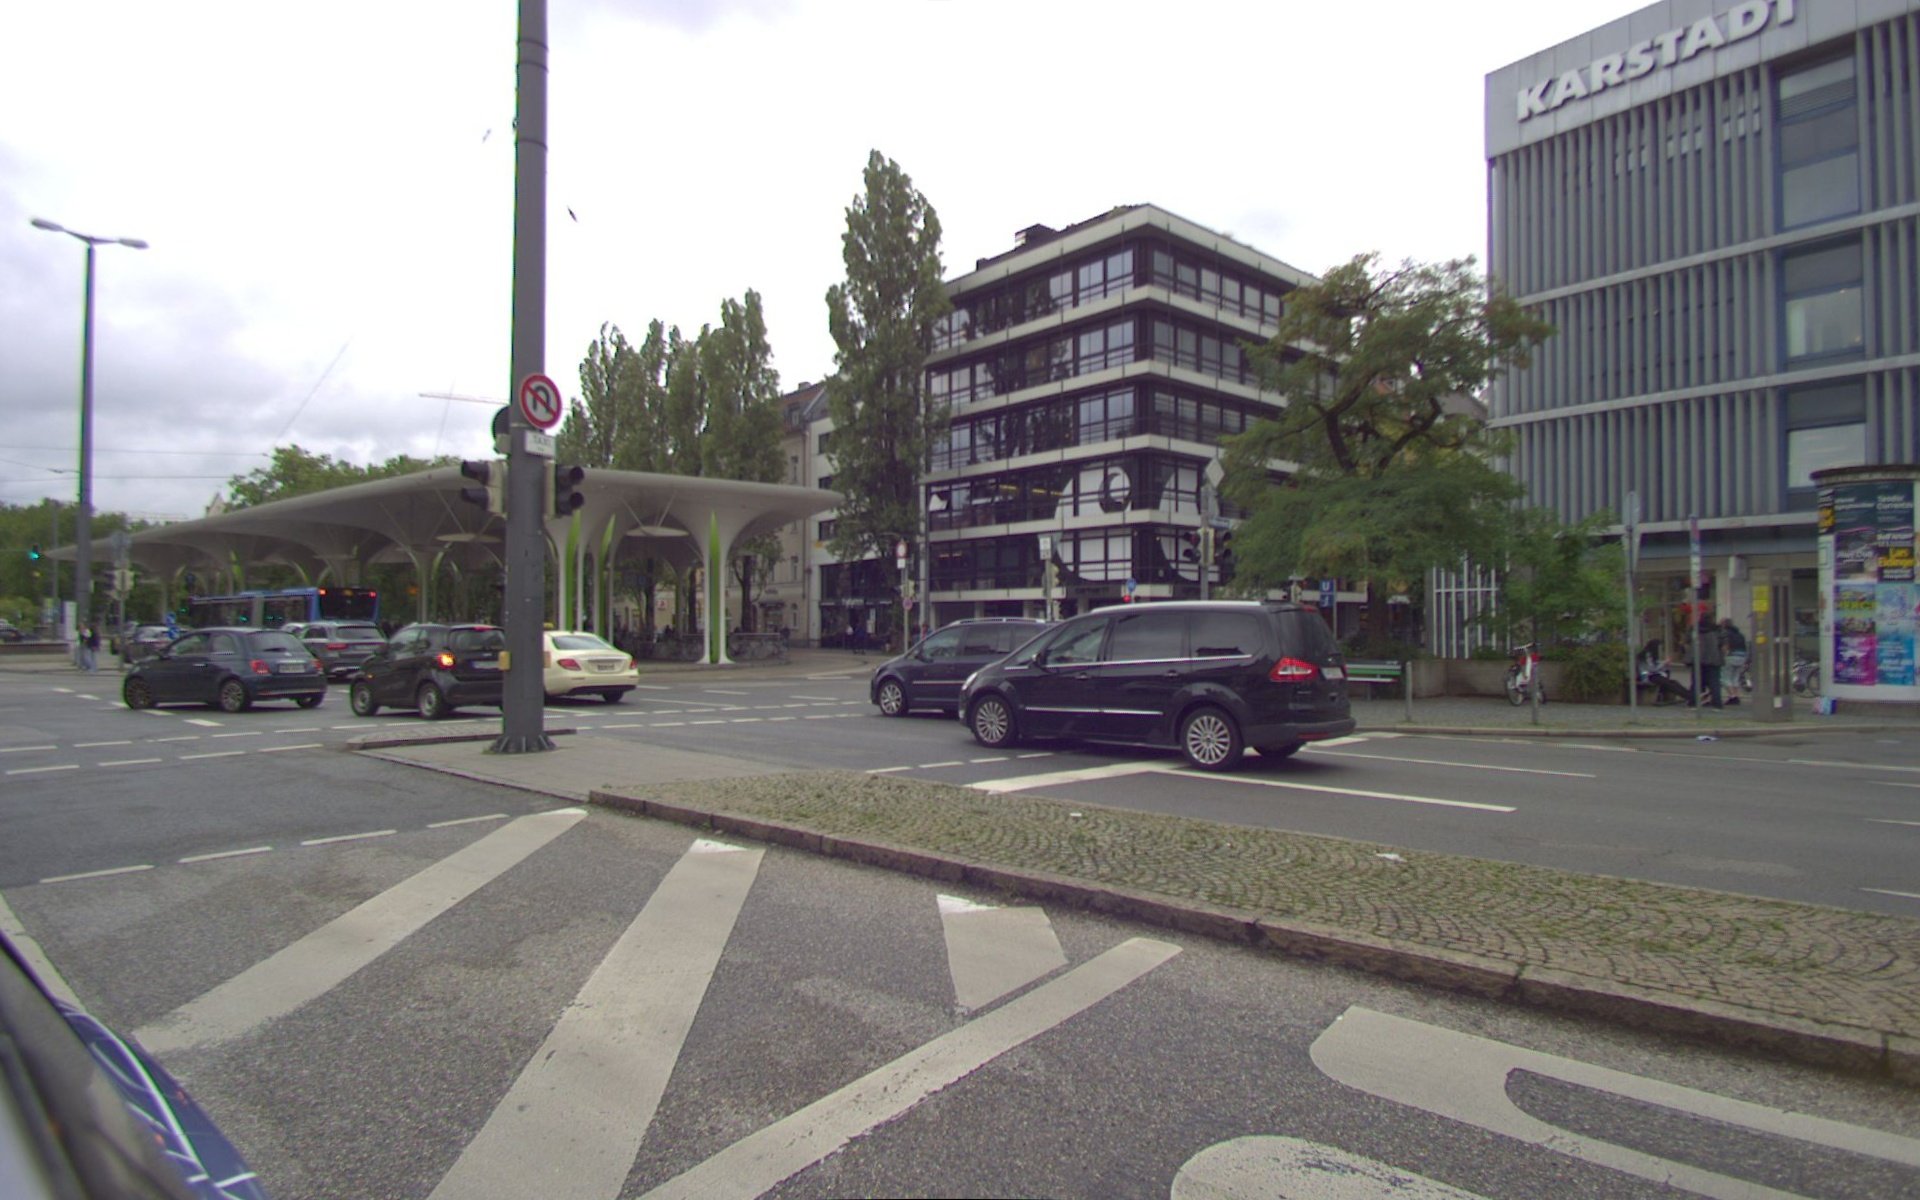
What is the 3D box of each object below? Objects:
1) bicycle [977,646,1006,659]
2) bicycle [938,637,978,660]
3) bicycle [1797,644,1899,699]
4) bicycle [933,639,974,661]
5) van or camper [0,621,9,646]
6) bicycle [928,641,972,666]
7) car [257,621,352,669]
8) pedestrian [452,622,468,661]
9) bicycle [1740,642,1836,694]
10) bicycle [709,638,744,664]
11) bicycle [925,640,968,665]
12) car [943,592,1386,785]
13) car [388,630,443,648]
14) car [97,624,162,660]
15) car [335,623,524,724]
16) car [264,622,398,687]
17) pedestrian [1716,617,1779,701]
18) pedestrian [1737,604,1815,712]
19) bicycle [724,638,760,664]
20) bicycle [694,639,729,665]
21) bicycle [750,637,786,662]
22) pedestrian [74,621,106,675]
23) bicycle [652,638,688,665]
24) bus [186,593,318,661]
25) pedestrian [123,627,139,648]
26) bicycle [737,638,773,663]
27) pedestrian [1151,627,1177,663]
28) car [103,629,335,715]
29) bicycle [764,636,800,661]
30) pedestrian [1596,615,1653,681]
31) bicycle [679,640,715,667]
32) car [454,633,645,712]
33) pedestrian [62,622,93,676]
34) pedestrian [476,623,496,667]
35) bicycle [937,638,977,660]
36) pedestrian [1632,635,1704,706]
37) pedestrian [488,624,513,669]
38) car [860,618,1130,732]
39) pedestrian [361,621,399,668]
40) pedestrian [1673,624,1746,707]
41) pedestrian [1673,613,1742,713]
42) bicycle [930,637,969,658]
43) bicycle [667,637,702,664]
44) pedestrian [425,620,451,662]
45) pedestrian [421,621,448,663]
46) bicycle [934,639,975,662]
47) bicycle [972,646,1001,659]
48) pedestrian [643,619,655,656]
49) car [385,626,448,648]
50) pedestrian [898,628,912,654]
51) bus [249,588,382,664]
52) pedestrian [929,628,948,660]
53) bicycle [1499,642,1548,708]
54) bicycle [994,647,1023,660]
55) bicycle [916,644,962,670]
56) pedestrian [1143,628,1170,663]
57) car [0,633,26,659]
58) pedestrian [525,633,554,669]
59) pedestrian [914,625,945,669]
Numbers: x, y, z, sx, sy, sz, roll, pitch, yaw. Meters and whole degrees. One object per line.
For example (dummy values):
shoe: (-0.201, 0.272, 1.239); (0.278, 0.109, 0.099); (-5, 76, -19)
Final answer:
bicycle: (1.629, 2.708, 51.920); (1.607, 0.637, 0.364); (1, -2, -35)
bicycle: (-0.072, 2.141, 44.697); (1.704, 0.946, 0.456); (1, -1, -8)
bicycle: (19.876, 1.560, 22.607); (3.621, 1.108, 0.807); (1, -2, -34)
bicycle: (-0.301, 2.152, 43.555); (1.704, 0.946, 0.456); (1, -1, -8)
van or camper: (-72.925, 2.493, 75.613); (5.433, 1.840, 1.909); (-2, -2, 38)
bicycle: (-0.411, 2.163, 41.234); (1.719, 0.946, 0.452); (0, -1, 21)
car: (-23.239, 1.575, 35.840); (3.996, 1.608, 1.681); (-2, -2, 39)
pedestrian: (-20.912, 1.736, 42.342); (0.511, 1.600, 0.482); (0, -2, -19)
bicycle: (19.457, 1.557, 23.756); (3.383, 1.108, 0.789); (1, -2, -34)
bicycle: (-10.437, 2.277, 45.170); (0.645, 1.127, 2.186); (1, -2, -40)
bicycle: (-0.572, 2.166, 41.778); (1.717, 0.946, 0.452); (0, -1, 19)
car: (2.142, 0.884, 11.468); (4.586, 1.752, 1.916); (-2, -3, 41)
car: (-48.363, 3.451, 89.888); (3.938, 1.628, 1.833); (1, -2, -42)
car: (-40.056, 2.006, 48.789); (3.997, 1.674, 1.764); (-2, -2, 41)
car: (-8.813, 1.171, 16.816); (2.825, 1.546, 1.493); (-1, -3, 30)
car: (-17.518, 1.469, 28.098); (4.727, 1.683, 1.726); (-2, -2, 39)
pedestrian: (14.969, 1.106, 19.268); (0.747, 1.566, 0.766); (-1, -2, 25)
pedestrian: (13.983, 0.984, 17.366); (0.766, 1.787, 0.747); (-1, -2, 17)
bicycle: (-9.856, 2.295, 45.646); (0.645, 1.127, 2.186); (1, -2, -40)
bicycle: (-10.997, 2.295, 44.744); (0.645, 1.127, 2.186); (1, -2, -40)
bicycle: (-8.811, 2.262, 46.448); (0.645, 1.127, 2.186); (1, -2, -40)
pedestrian: (-26.618, 1.474, 30.973); (0.551, 1.631, 0.487); (0, -2, 6)
bicycle: (-12.478, 2.200, 43.479); (0.633, 1.133, 2.169); (1, -2, -40)
bus: (-34.825, 1.367, 49.564); (10.507, 3.031, 2.633); (-2, -4, 40)
pedestrian: (-67.005, 3.017, 81.794); (0.737, 1.641, 0.734); (-1, -2, 19)
bicycle: (-9.335, 2.279, 46.056); (0.645, 1.127, 2.186); (1, -2, -40)
pedestrian: (9.523, 2.080, 47.249); (0.789, 1.666, 0.854); (1, -2, -38)
car: (-13.429, 1.258, 18.386); (3.506, 1.457, 1.543); (-1, -2, 15)
bicycle: (-8.260, 2.244, 46.881); (0.645, 1.127, 2.186); (1, -2, -40)
pedestrian: (16.592, 1.190, 25.271); (0.786, 1.593, 0.979); (1, -2, -39)
bicycle: (-11.531, 2.312, 44.331); (0.645, 1.127, 2.186); (1, -2, -40)
car: (-8.512, 1.405, 20.807); (4.637, 1.432, 1.747); (-2, -2, 41)
pedestrian: (-27.023, 1.485, 31.003); (0.514, 1.631, 0.464); (0, -2, -6)
pedestrian: (-18.623, 1.754, 39.726); (0.540, 1.733, 0.616); (1, -2, -42)
bicycle: (-0.127, 2.145, 44.154); (1.704, 0.946, 0.456); (1, -1, -8)
pedestrian: (13.301, 1.301, 19.019); (1.044, 1.285, 0.539); (-2, -2, 41)
pedestrian: (-18.743, 1.879, 41.307); (0.793, 1.831, 0.707); (1, -2, -35)
car: (0.476, 1.144, 16.625); (4.256, 1.626, 1.820); (-2, -2, 41)
pedestrian: (-21.627, 1.650, 37.743); (0.831, 1.694, 0.971); (-1, -2, 7)
pedestrian: (13.861, 1.205, 18.740); (0.763, 1.504, 0.750); (-1, -2, 5)
pedestrian: (12.853, 1.069, 17.397); (0.760, 1.666, 0.753); (1, -2, -39)
bicycle: (-0.484, 2.149, 45.873); (1.704, 0.946, 0.455); (1, -1, -6)
bicycle: (-11.950, 2.184, 43.852); (0.633, 1.133, 2.169); (1, -2, -40)
pedestrian: (-21.807, 1.715, 42.306); (0.695, 1.724, 0.757); (0, -2, -1)
pedestrian: (-21.391, 1.695, 41.211); (0.738, 1.687, 0.631); (0, -1, 0)
bicycle: (-0.247, 2.152, 42.902); (1.707, 0.946, 0.455); (1, -1, 0)
bicycle: (1.355, 2.715, 52.250); (1.607, 0.637, 0.364); (1, -2, -35)
pedestrian: (-16.210, 1.947, 52.718); (0.418, 1.947, 0.481); (-1, -2, 12)
car: (-49.876, 3.374, 92.907); (4.853, 1.962, 1.874); (1, -2, -40)
pedestrian: (-3.421, 2.528, 62.930); (0.584, 1.604, 0.675); (1, -2, -27)
bus: (-27.956, 1.188, 43.758); (7.507, 3.031, 2.633); (-2, -4, 40)
pedestrian: (-1.243, 2.529, 58.612); (0.710, 1.814, 0.829); (1, -2, -39)
bicycle: (10.253, 1.335, 18.405); (0.373, 1.120, 1.556); (-2, -2, 44)
bicycle: (2.437, 2.688, 50.905); (1.607, 0.637, 0.364); (1, -2, -35)
bicycle: (-0.803, 2.182, 39.168); (1.718, 0.946, 0.452); (0, -1, 20)
pedestrian: (9.038, 2.101, 46.593); (0.730, 1.600, 0.951); (1, -2, -38)
car: (-57.565, 2.778, 60.629); (4.276, 1.520, 1.648); (-3, -6, 39)
pedestrian: (-17.549, 2.118, 42.249); (1.008, 1.464, 0.856); (0, -2, -15)
pedestrian: (-1.156, 1.755, 38.020); (0.790, 1.654, 0.845); (-2, -3, 45)
